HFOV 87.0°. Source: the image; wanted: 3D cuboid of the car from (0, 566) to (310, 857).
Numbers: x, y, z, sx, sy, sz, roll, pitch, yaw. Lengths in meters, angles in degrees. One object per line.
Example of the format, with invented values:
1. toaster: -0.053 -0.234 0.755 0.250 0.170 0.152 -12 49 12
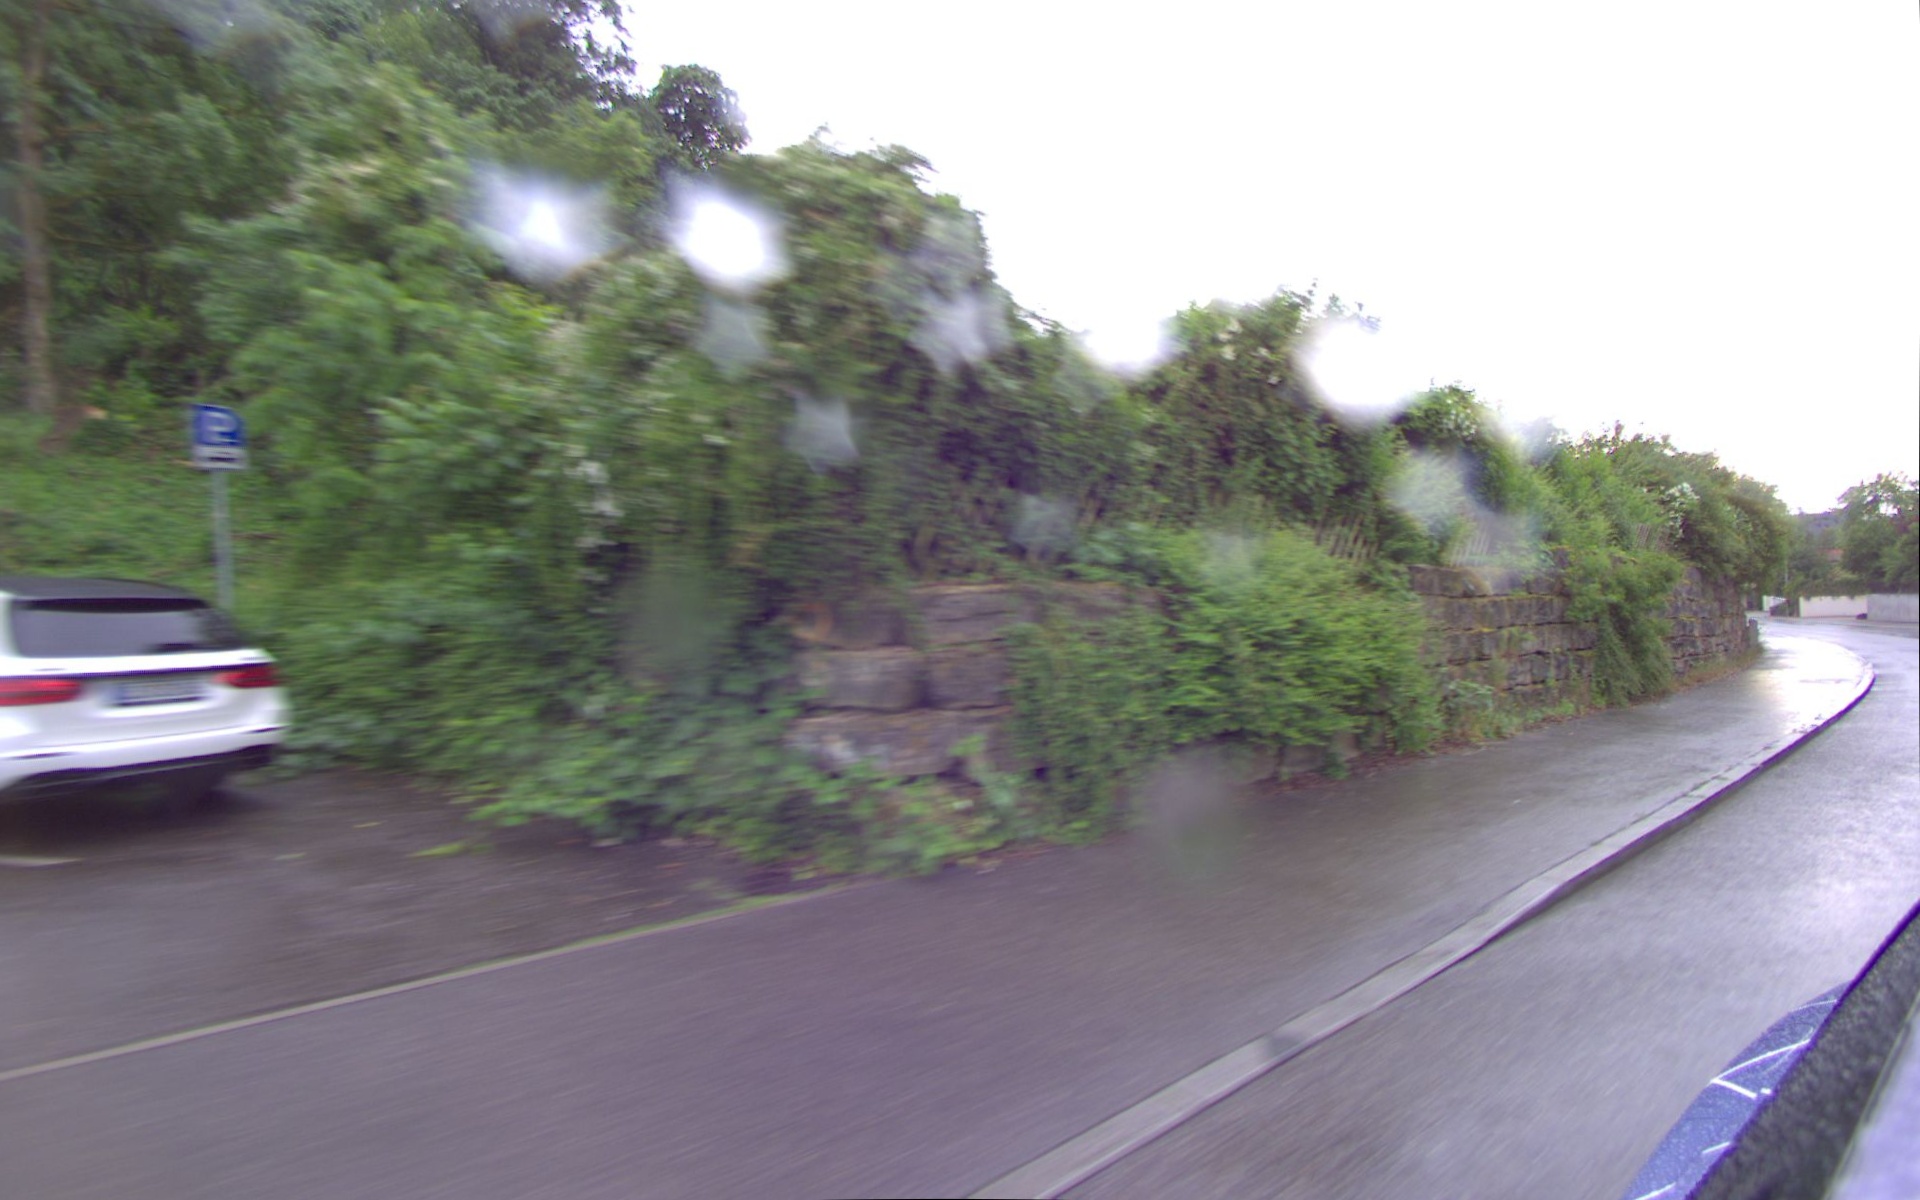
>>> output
1. car: -6.581 0.513 6.668 4.266 1.482 1.799 1 1 23
